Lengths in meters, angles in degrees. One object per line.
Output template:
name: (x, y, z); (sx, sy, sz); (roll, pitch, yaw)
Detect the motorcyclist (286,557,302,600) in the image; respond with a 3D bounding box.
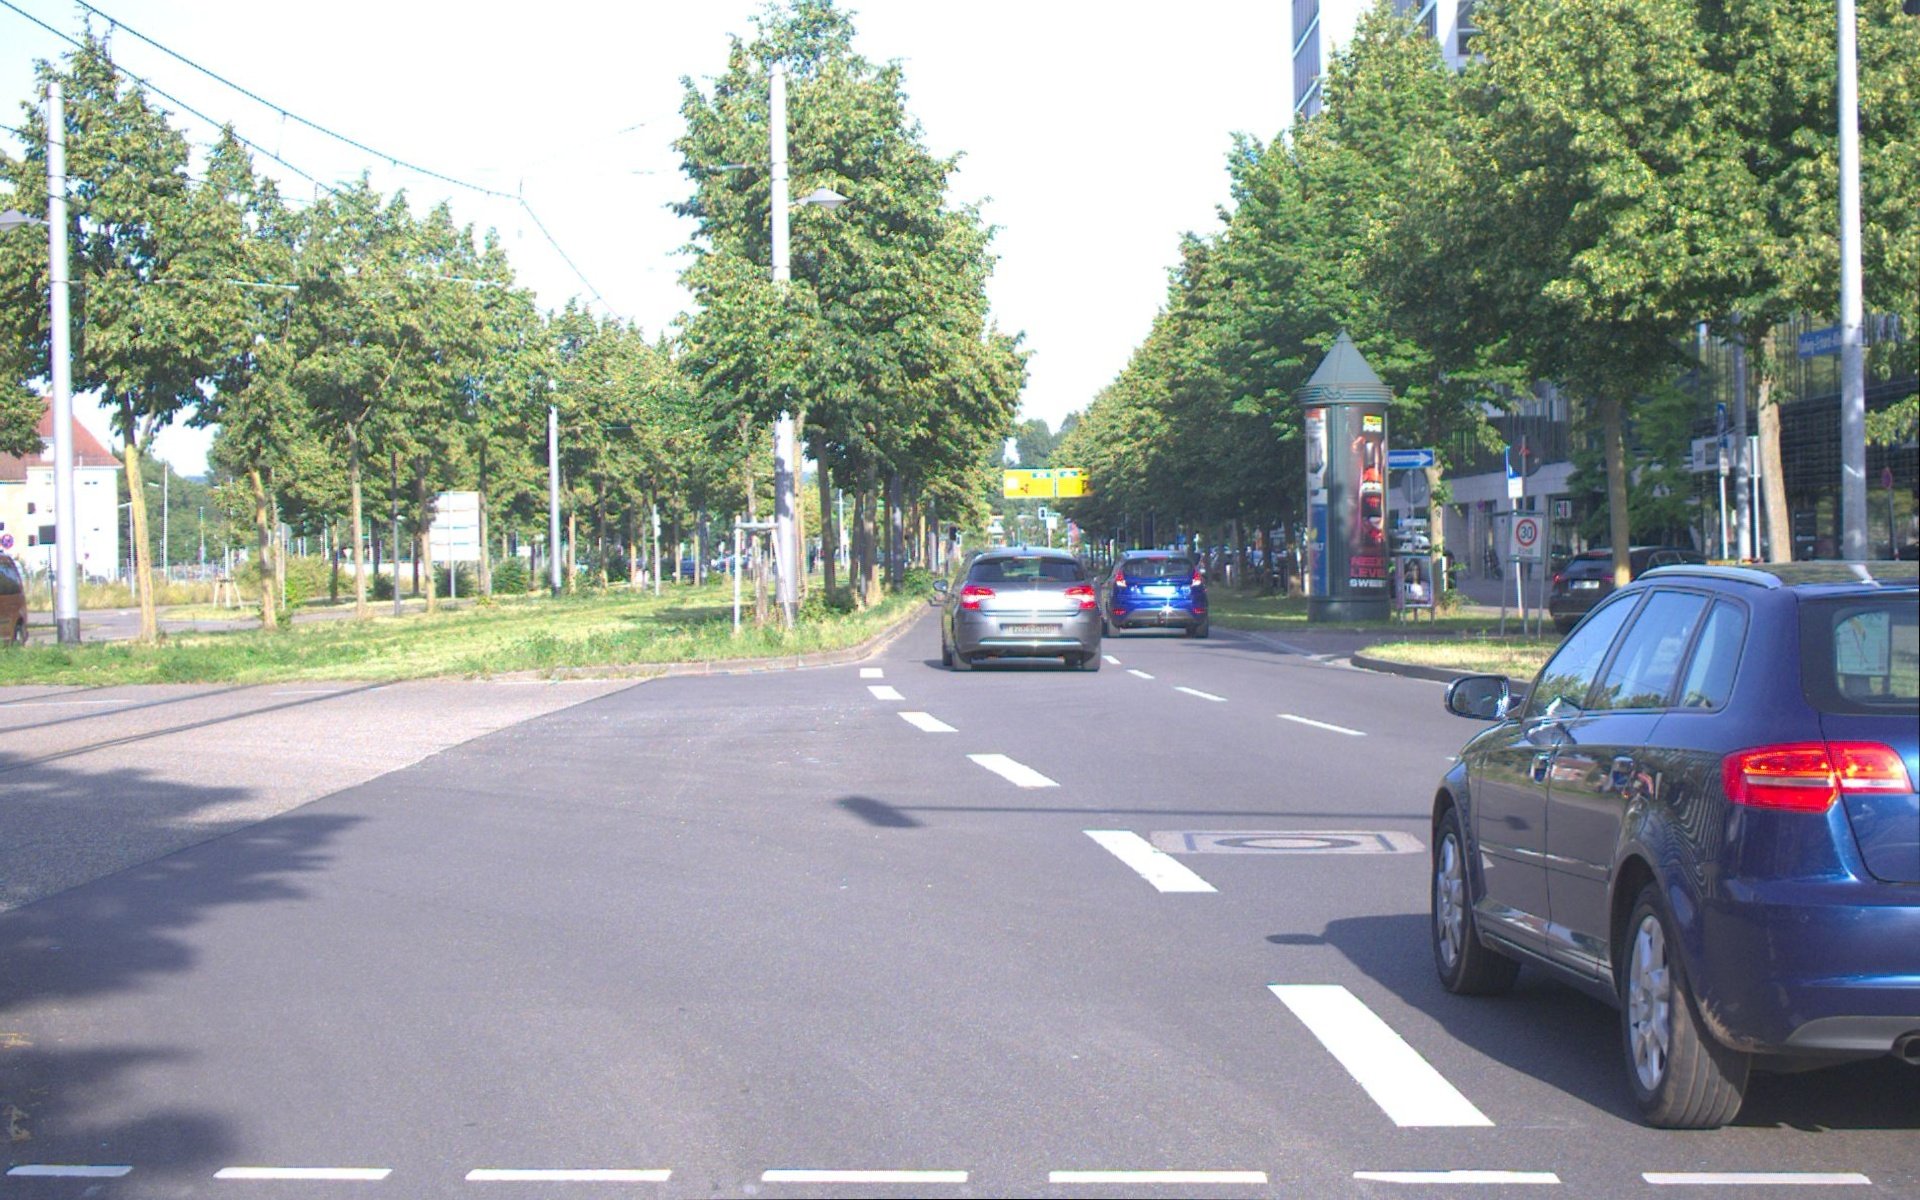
motorcyclist: (-24.741, -0.803, 127.749); (0.485, 1.559, 0.455); (1, 0, -1)

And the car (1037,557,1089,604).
car: (3.977, -0.755, 133.345); (1.825, 1.779, 4.000); (1, 1, -1)

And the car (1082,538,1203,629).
car: (3.027, -0.300, 57.729); (1.560, 1.419, 3.908); (1, 1, -4)

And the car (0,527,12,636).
car: (-16.326, -0.300, 54.528); (1.684, 1.769, 3.883); (1, 1, -3)

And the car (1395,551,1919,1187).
car: (2.450, 0.595, 9.797); (1.751, 1.430, 4.036); (1, 1, -2)

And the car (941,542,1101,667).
car: (0.697, 0.027, 41.700); (1.694, 1.419, 4.040); (1, 1, -2)

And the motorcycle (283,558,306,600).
motorcycle: (-24.725, -0.793, 127.768); (0.473, 1.525, 1.993); (1, 1, -1)

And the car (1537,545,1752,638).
car: (11.058, -0.139, 55.414); (1.778, 1.419, 3.952); (1, 1, 38)
